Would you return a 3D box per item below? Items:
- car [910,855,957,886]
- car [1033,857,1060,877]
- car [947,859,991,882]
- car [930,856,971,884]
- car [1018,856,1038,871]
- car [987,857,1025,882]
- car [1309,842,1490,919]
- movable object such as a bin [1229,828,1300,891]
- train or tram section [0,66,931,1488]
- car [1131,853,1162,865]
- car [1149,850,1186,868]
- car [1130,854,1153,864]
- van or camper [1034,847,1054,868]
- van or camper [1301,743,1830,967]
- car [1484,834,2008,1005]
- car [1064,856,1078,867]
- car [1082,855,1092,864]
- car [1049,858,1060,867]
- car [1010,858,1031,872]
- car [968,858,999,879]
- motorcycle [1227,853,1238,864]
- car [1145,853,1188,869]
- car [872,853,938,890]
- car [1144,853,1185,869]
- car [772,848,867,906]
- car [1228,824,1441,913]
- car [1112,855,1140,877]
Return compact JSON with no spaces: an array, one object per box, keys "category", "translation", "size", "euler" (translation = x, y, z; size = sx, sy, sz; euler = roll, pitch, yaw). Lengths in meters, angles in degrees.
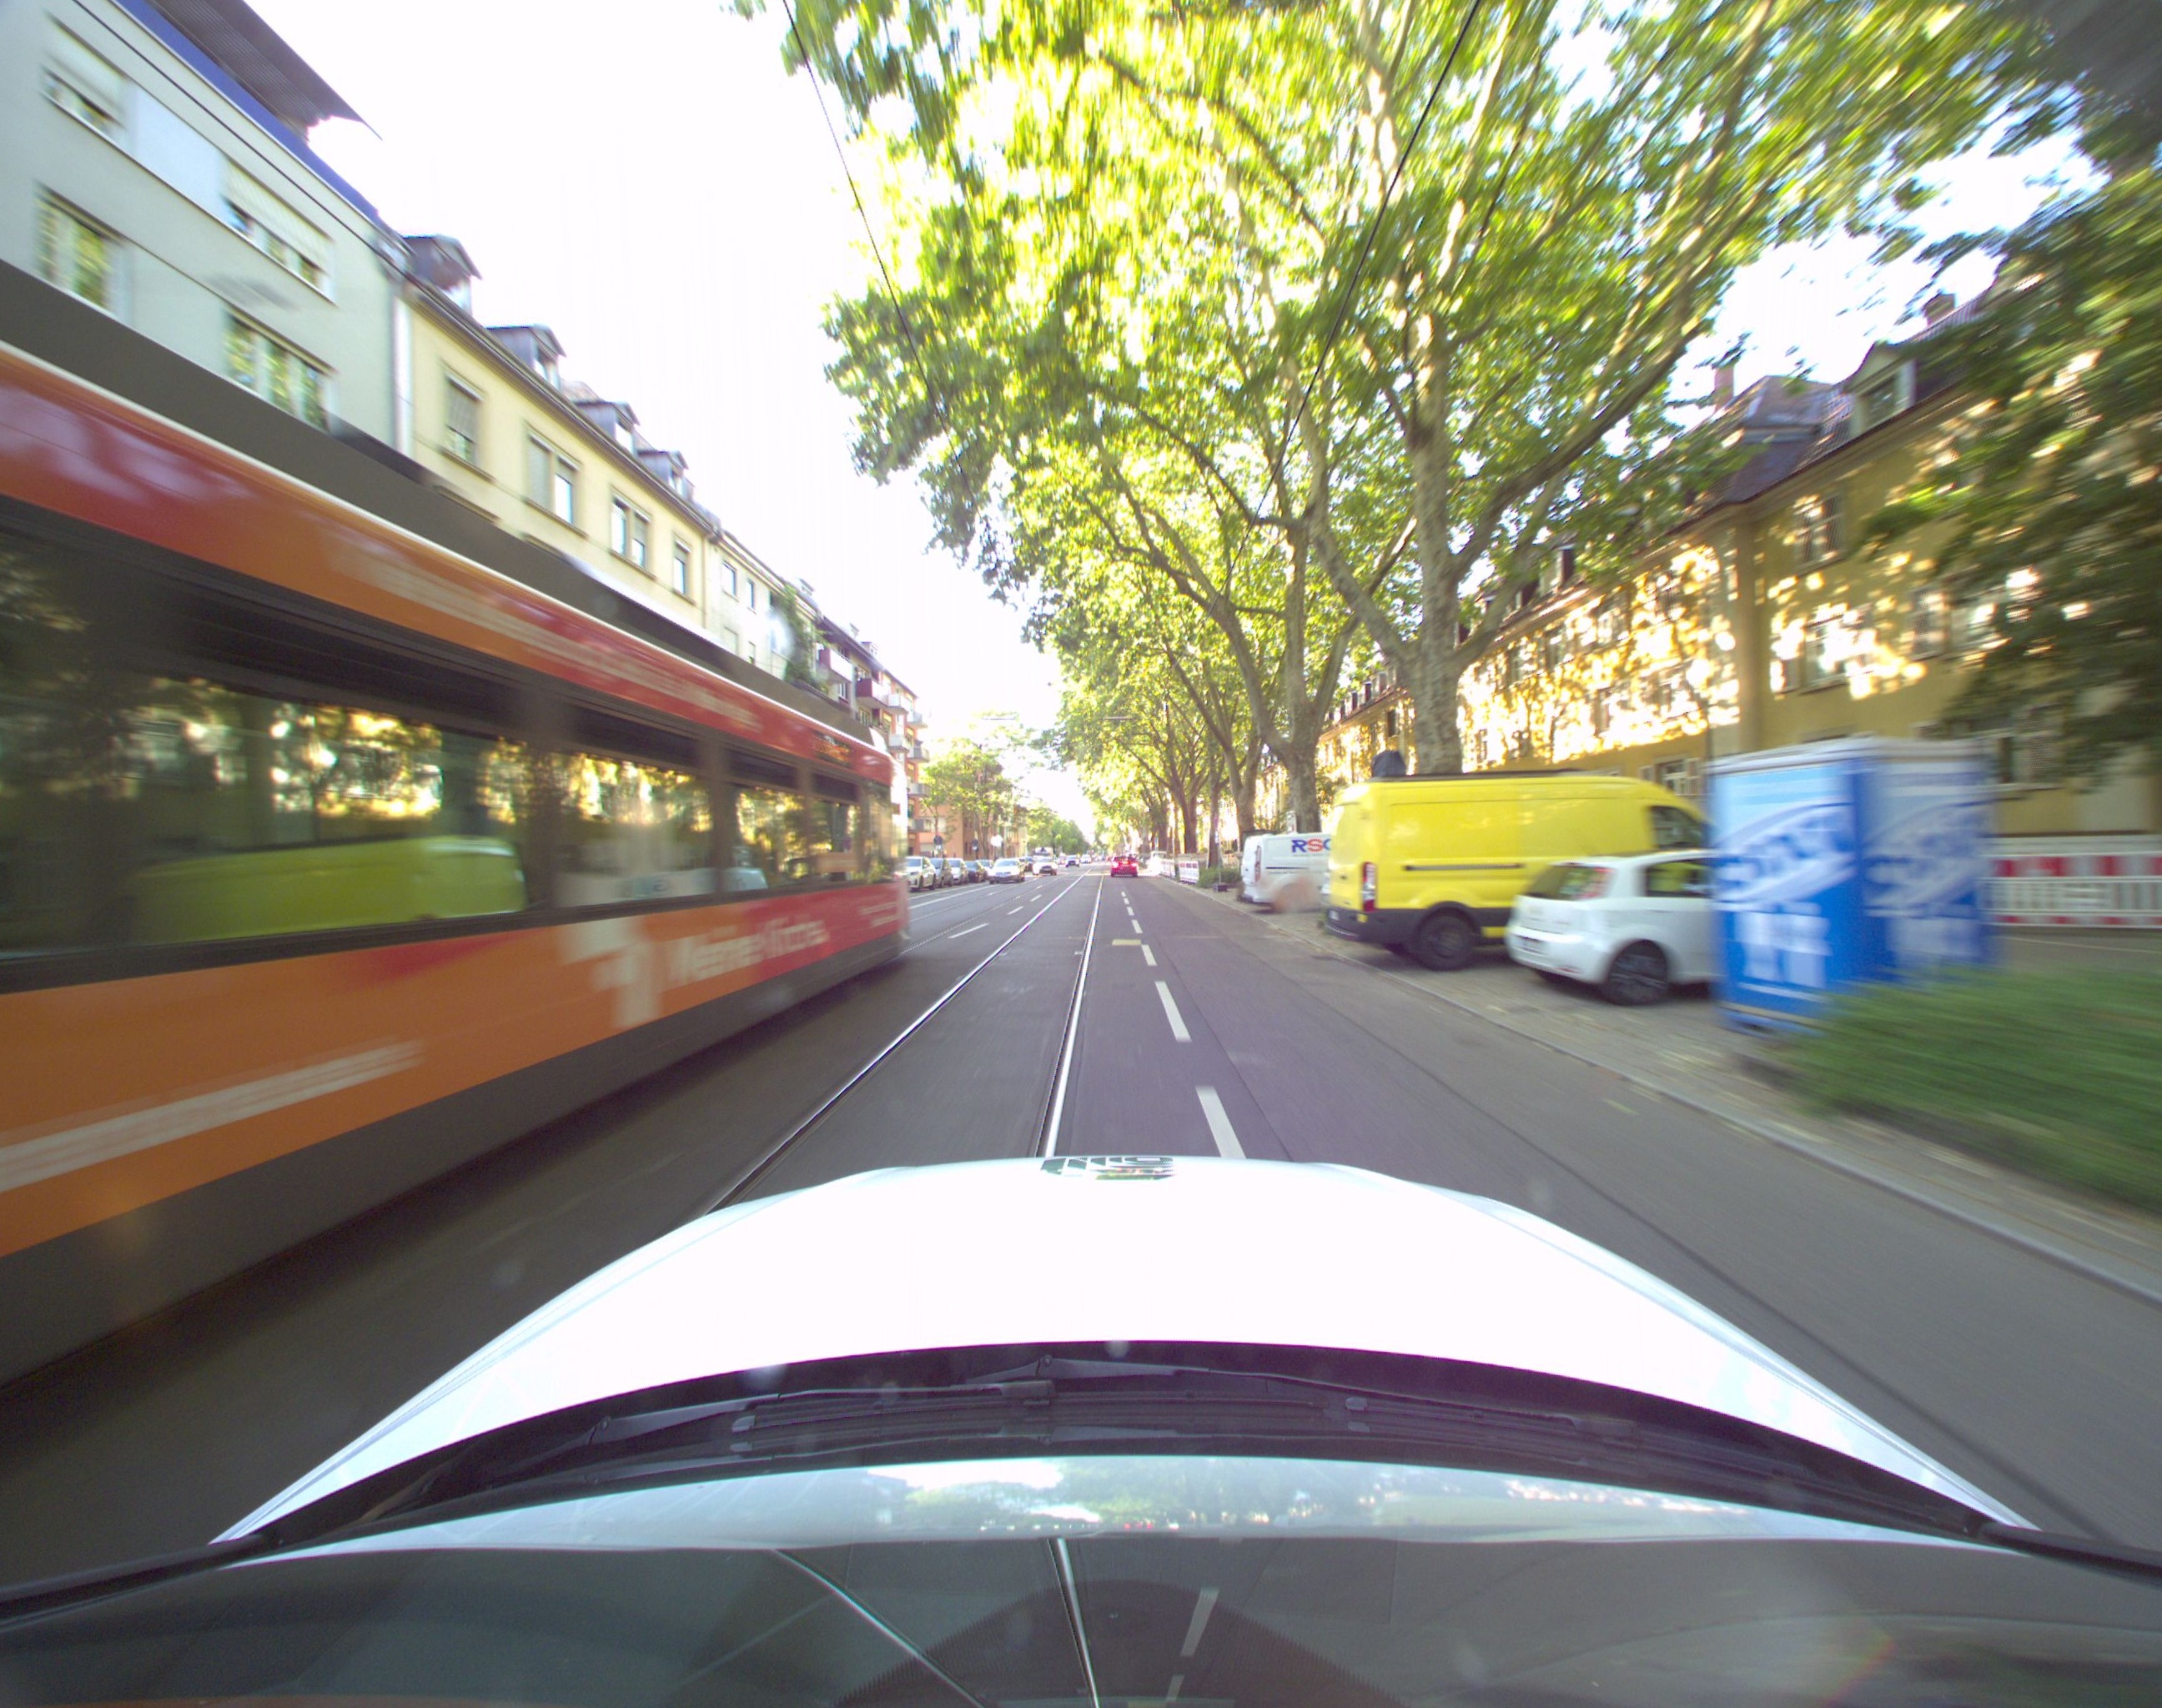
[{"category":"car","translation":[-7.881,0.888,43.895],"size":[1.619,1.572,3.784],"euler":[-1,-1,3]},{"category":"car","translation":[-2.730,0.989,65.305],"size":[1.789,1.446,4.055],"euler":[-3,0,2]},{"category":"car","translation":[-7.364,1.053,54.001],"size":[1.944,1.395,4.866],"euler":[1,0,3]},{"category":"car","translation":[-7.773,0.937,48.892],"size":[1.813,1.587,4.004],"euler":[0,0,0]},{"category":"car","translation":[-6.032,1.076,92.980],"size":[1.775,1.610,4.588],"euler":[2,0,1]},{"category":"car","translation":[-4.498,0.890,49.290],"size":[1.789,1.446,4.717],"euler":[0,0,1]},{"category":"car","translation":[6.902,0.556,17.884],"size":[3.293,1.539,1.697],"euler":[-1,0,0]},{"category":"movable object such as a bin","translation":[7.043,0.183,31.114],"size":[1.467,2.269,3.298],"euler":[-1,0,35]},{"category":"train or tram section","translation":[-3.992,-0.174,5.289],"size":[2.897,3.486,14.203],"euler":[-1,0,2]},{"category":"car","translation":[9.792,0.726,121.171],"size":[4.474,1.602,2.030],"euler":[-3,-1,5]},{"category":"car","translation":[9.159,0.501,86.404],"size":[3.825,1.772,1.919],"euler":[-1,0,5]},{"category":"car","translation":[10.449,0.911,141.269],"size":[3.911,1.670,1.960],"euler":[-1,0,0]},{"category":"van or camper","translation":[-5.446,0.502,120.014],"size":[2.328,3.041,6.401],"euler":[2,0,3]},{"category":"van or camper","translation":[6.327,0.052,11.366],"size":[5.900,2.629,2.272],"euler":[-2,-1,3]},{"category":"car","translation":[6.626,0.616,8.526],"size":[3.889,1.489,1.865],"euler":[-2,0,3]},{"category":"car","translation":[-1.351,1.049,114.996],"size":[1.846,1.600,4.464],"euler":[1,0,1]},{"category":"car","translation":[1.157,1.086,161.976],"size":[1.884,1.832,4.897],"euler":[-1,0,1]},{"category":"car","translation":[-4.672,1.409,143.215],"size":[1.830,1.468,5.068],"euler":[2,0,0]},{"category":"car","translation":[-6.483,1.175,87.636],"size":[1.799,1.478,4.092],"euler":[1,-1,3]},{"category":"car","translation":[-7.047,1.041,59.411],"size":[1.719,1.483,3.930],"euler":[1,0,1]},{"category":"motorcycle","translation":[16.350,0.453,87.896],"size":[0.712,1.153,2.265],"euler":[-2,0,2]},{"category":"car","translation":[8.605,0.695,82.130],"size":[4.074,1.521,1.916],"euler":[-1,-1,0]},{"category":"car","translation":[-8.157,0.792,38.157],"size":[1.945,1.648,4.882],"euler":[0,-1,1]},{"category":"car","translation":[9.024,0.731,88.432],"size":[4.349,1.542,1.804],"euler":[-1,0,5]},{"category":"car","translation":[-8.667,0.711,27.391],"size":[1.783,1.771,4.468],"euler":[-1,0,-1]},{"category":"car","translation":[6.386,0.348,20.954],"size":[4.817,2.013,2.064],"euler":[-2,0,1]},{"category":"car","translation":[3.009,0.779,54.917],"size":[1.785,1.389,4.239],"euler":[0,0,2]}]
